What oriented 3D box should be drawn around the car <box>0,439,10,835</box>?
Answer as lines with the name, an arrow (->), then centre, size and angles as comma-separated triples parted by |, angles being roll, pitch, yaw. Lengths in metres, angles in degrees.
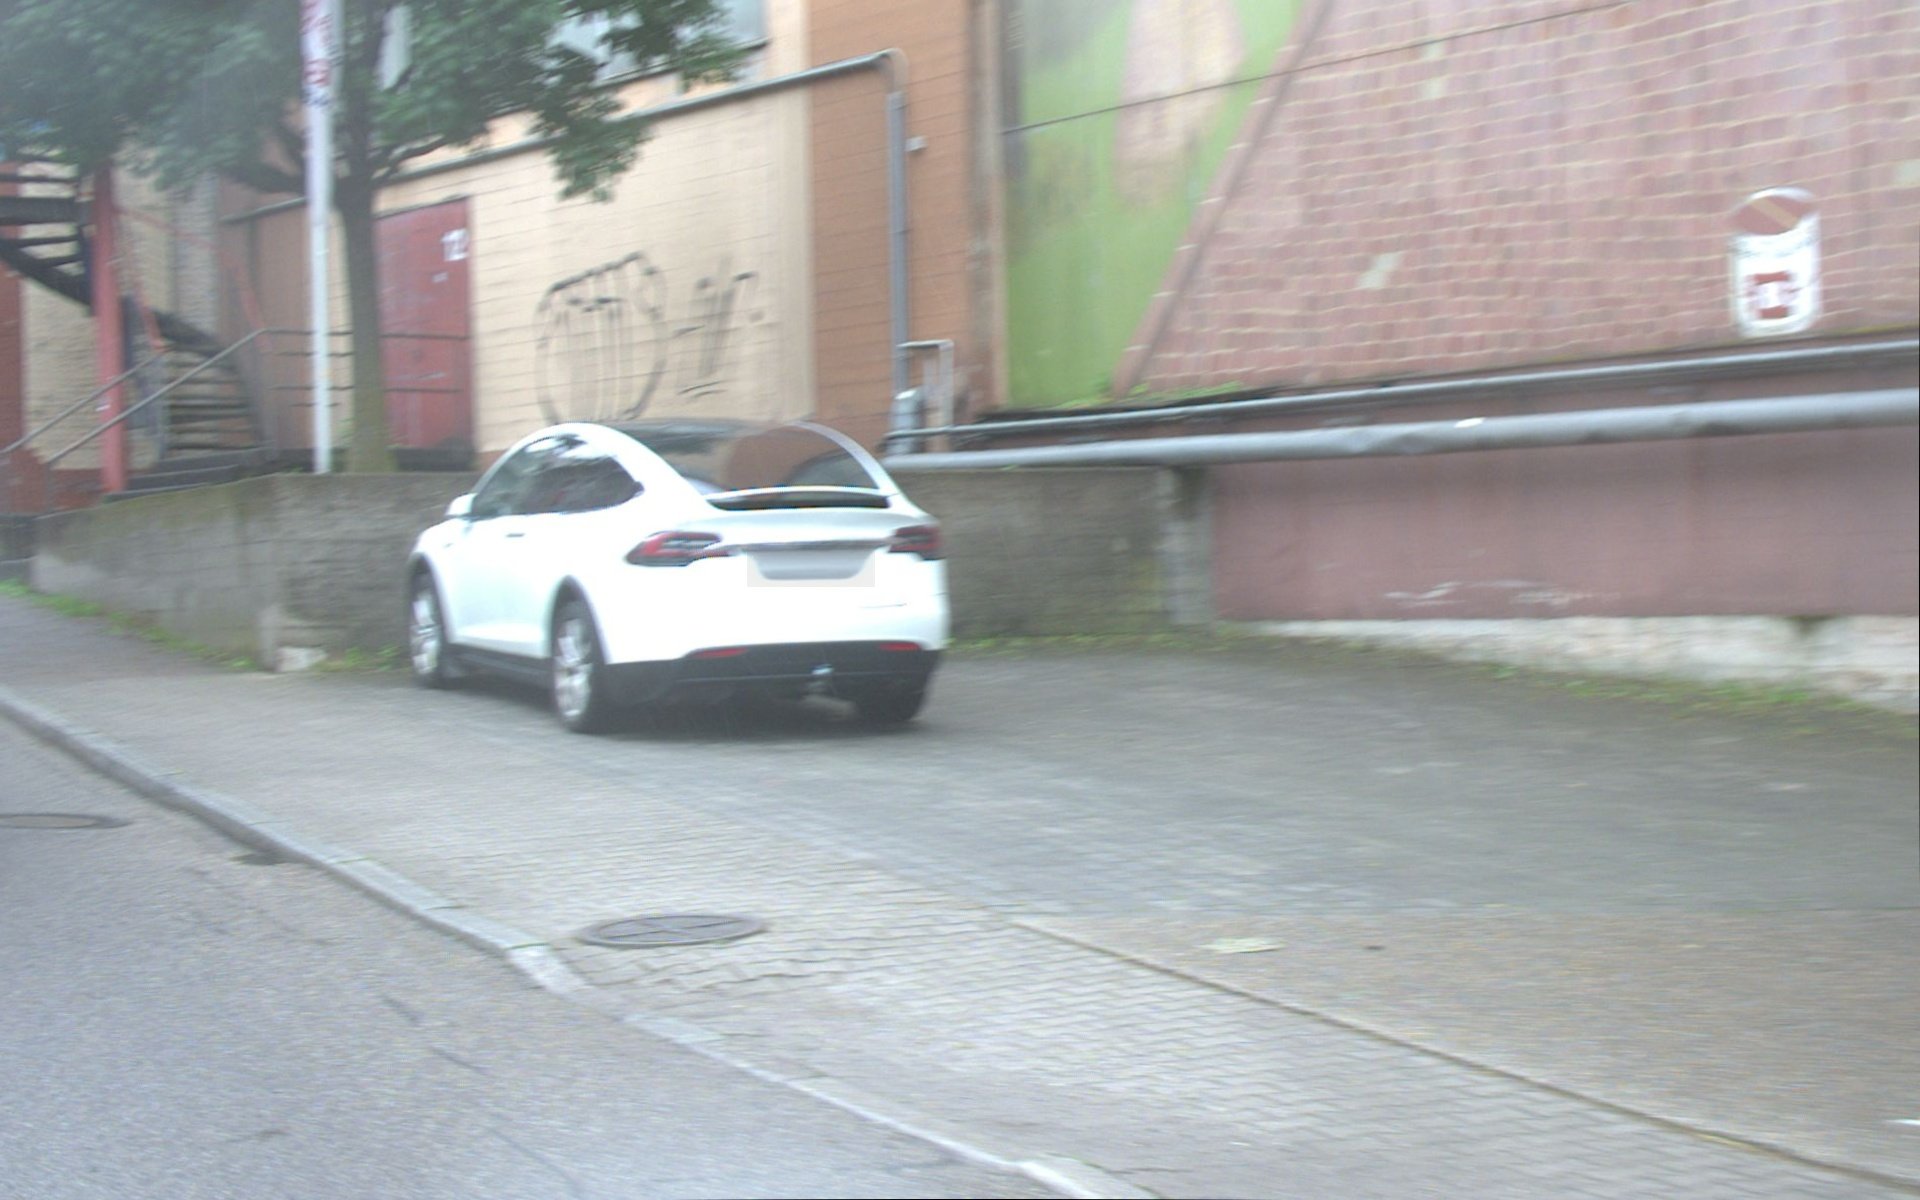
car -> -5.531, 0.117, 15.136 | 1.881, 1.588, 3.922 | 1, 0, -26

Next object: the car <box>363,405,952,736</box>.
car -> -1.917, -0.288, 19.957 | 1.852, 1.611, 4.917 | -1, 4, -25
